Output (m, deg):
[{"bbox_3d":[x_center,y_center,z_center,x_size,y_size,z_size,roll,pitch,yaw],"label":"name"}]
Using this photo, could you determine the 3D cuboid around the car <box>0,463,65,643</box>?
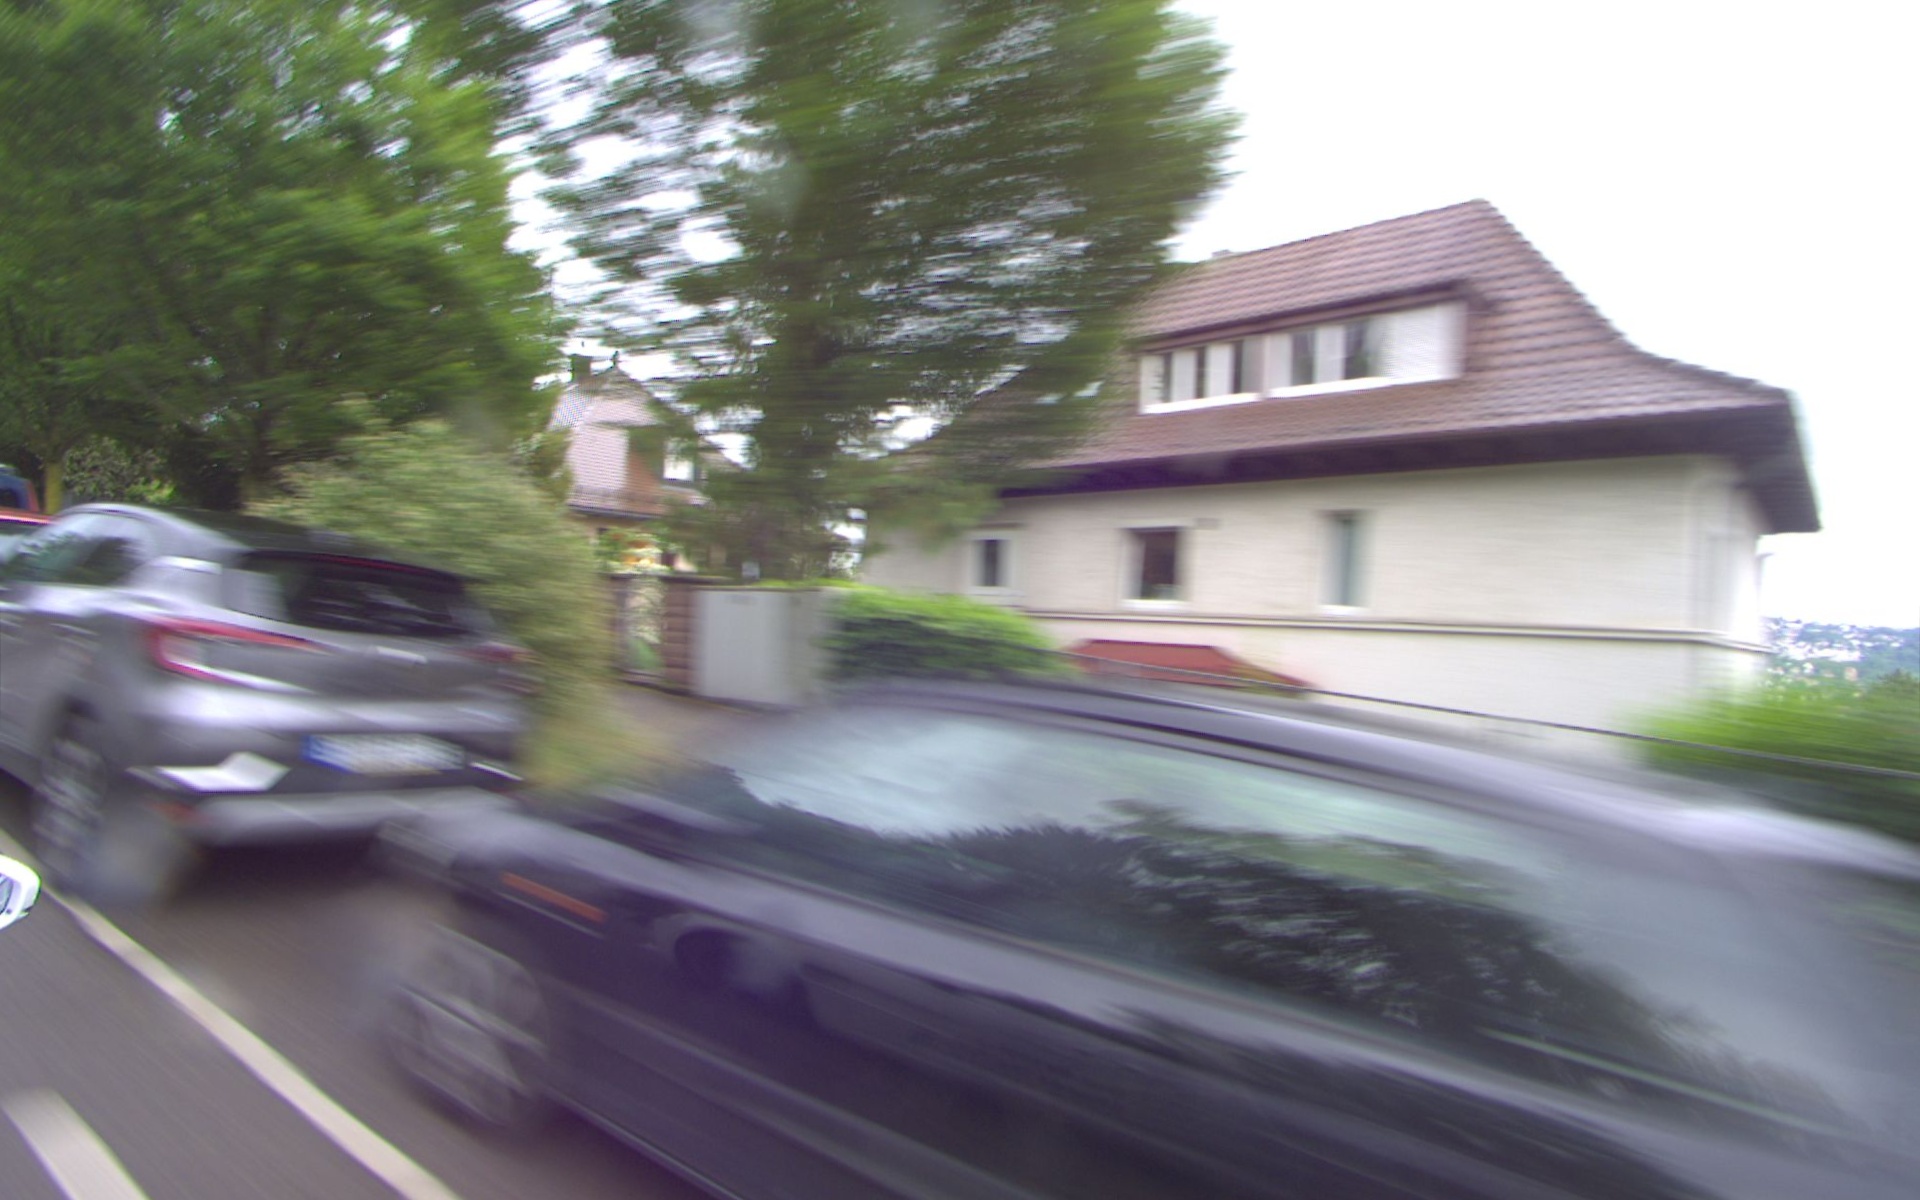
[{"bbox_3d":[-12.141,-0.745,11.491,4.355,1.874,1.780,6,-1,35],"label":"car"}]

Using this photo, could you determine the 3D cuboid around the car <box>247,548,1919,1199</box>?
[{"bbox_3d":[0.042,0.823,2.746,4.217,1.440,1.646,6,-3,32],"label":"car"}]

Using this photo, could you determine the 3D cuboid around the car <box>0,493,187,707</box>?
[{"bbox_3d":[-8.293,-0.144,8.517,3.958,1.499,1.649,6,-2,37],"label":"car"}]

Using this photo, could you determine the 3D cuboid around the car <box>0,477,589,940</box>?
[{"bbox_3d":[-4.062,0.315,5.364,4.098,1.573,1.717,6,-3,35],"label":"car"}]
